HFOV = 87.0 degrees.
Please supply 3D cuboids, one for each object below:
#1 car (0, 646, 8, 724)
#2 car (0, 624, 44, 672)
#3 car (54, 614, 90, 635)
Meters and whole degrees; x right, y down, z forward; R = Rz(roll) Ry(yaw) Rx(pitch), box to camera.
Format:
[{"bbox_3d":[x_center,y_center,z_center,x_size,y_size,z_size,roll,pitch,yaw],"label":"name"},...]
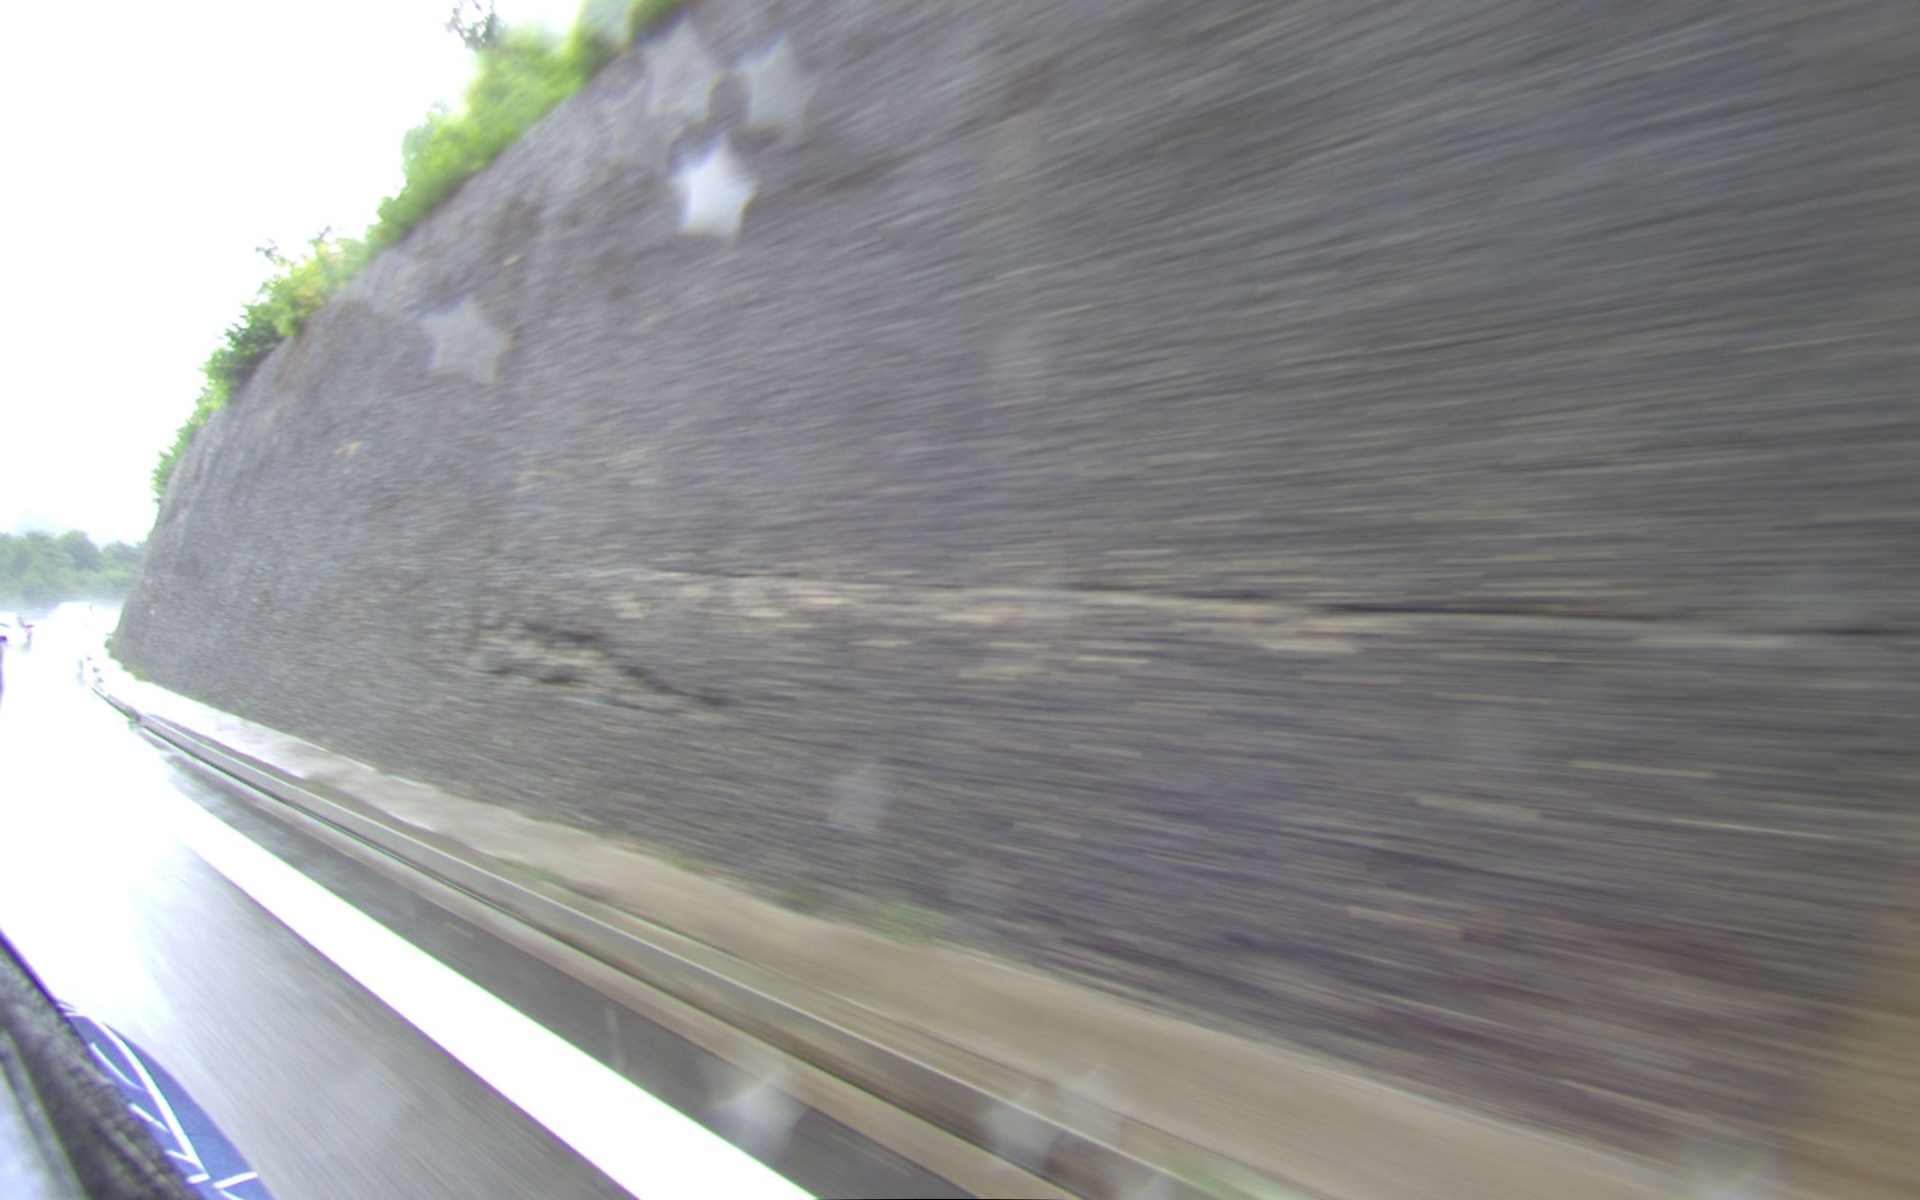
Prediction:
[{"bbox_3d":[-19.271,1.597,19.156,1.801,1.394,4.004,0,-2,-43],"label":"car"},{"bbox_3d":[-30.330,1.514,32.099,1.801,1.393,4.005,-4,2,-42],"label":"car"},{"bbox_3d":[-66.826,1.835,76.198,1.800,1.393,4.007,-4,2,-39],"label":"car"}]
